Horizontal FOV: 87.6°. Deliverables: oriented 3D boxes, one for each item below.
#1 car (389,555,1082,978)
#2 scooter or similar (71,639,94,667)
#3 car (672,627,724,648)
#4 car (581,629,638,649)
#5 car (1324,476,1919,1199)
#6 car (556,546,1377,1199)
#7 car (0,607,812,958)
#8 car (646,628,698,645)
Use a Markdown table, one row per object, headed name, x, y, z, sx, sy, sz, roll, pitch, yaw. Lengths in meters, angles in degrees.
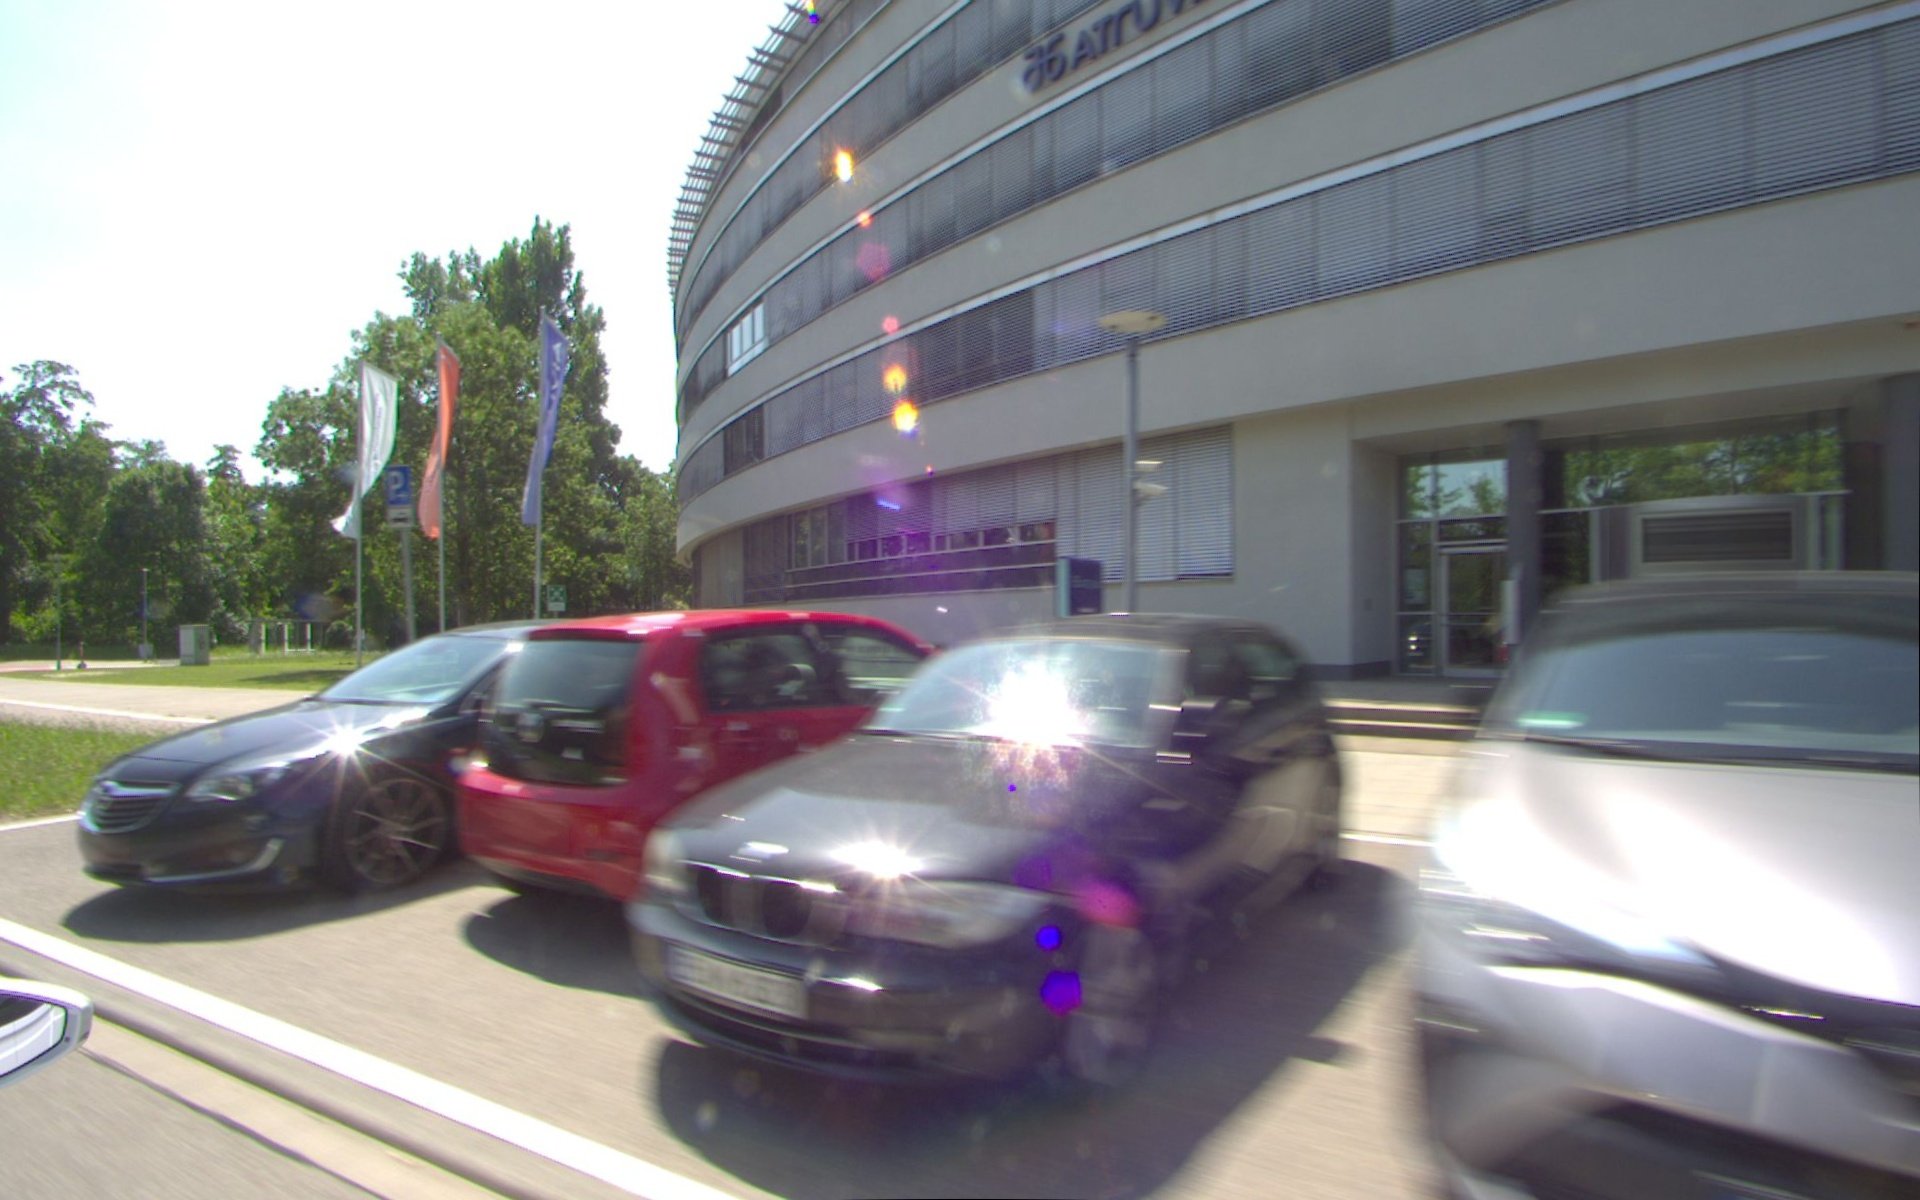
| name | x | y | z | sx | sy | sz | roll | pitch | yaw |
| --- | --- | --- | --- | --- | --- | --- | --- | --- | --- |
| car | -0.995 | 0.709 | 6.135 | 1.815 | 1.676 | 3.976 | -1 | -1 | 35 |
| scooter or similar | -39.380 | 2.386 | 44.949 | 0.441 | 1.216 | 1.392 | 1 | -2 | -29 |
| car | -19.326 | 2.769 | 73.834 | 3.635 | 1.501 | 1.859 | -2 | -3 | 34 |
| car | -27.673 | 3.091 | 79.066 | 1.681 | 1.505 | 3.974 | 2 | -1 | 38 |
| car | 2.604 | 0.608 | 3.160 | 1.762 | 1.584 | 4.309 | -1 | 0 | 34 |
| car | 0.474 | 0.660 | 4.259 | 1.633 | 1.505 | 3.797 | -1 | -1 | 35 |
| car | -3.184 | 0.835 | 6.791 | 1.801 | 1.451 | 4.558 | -1 | 0 | 31 |
| car | -24.161 | 3.049 | 84.078 | 1.862 | 1.434 | 3.763 | -1 | -2 | 41 |
